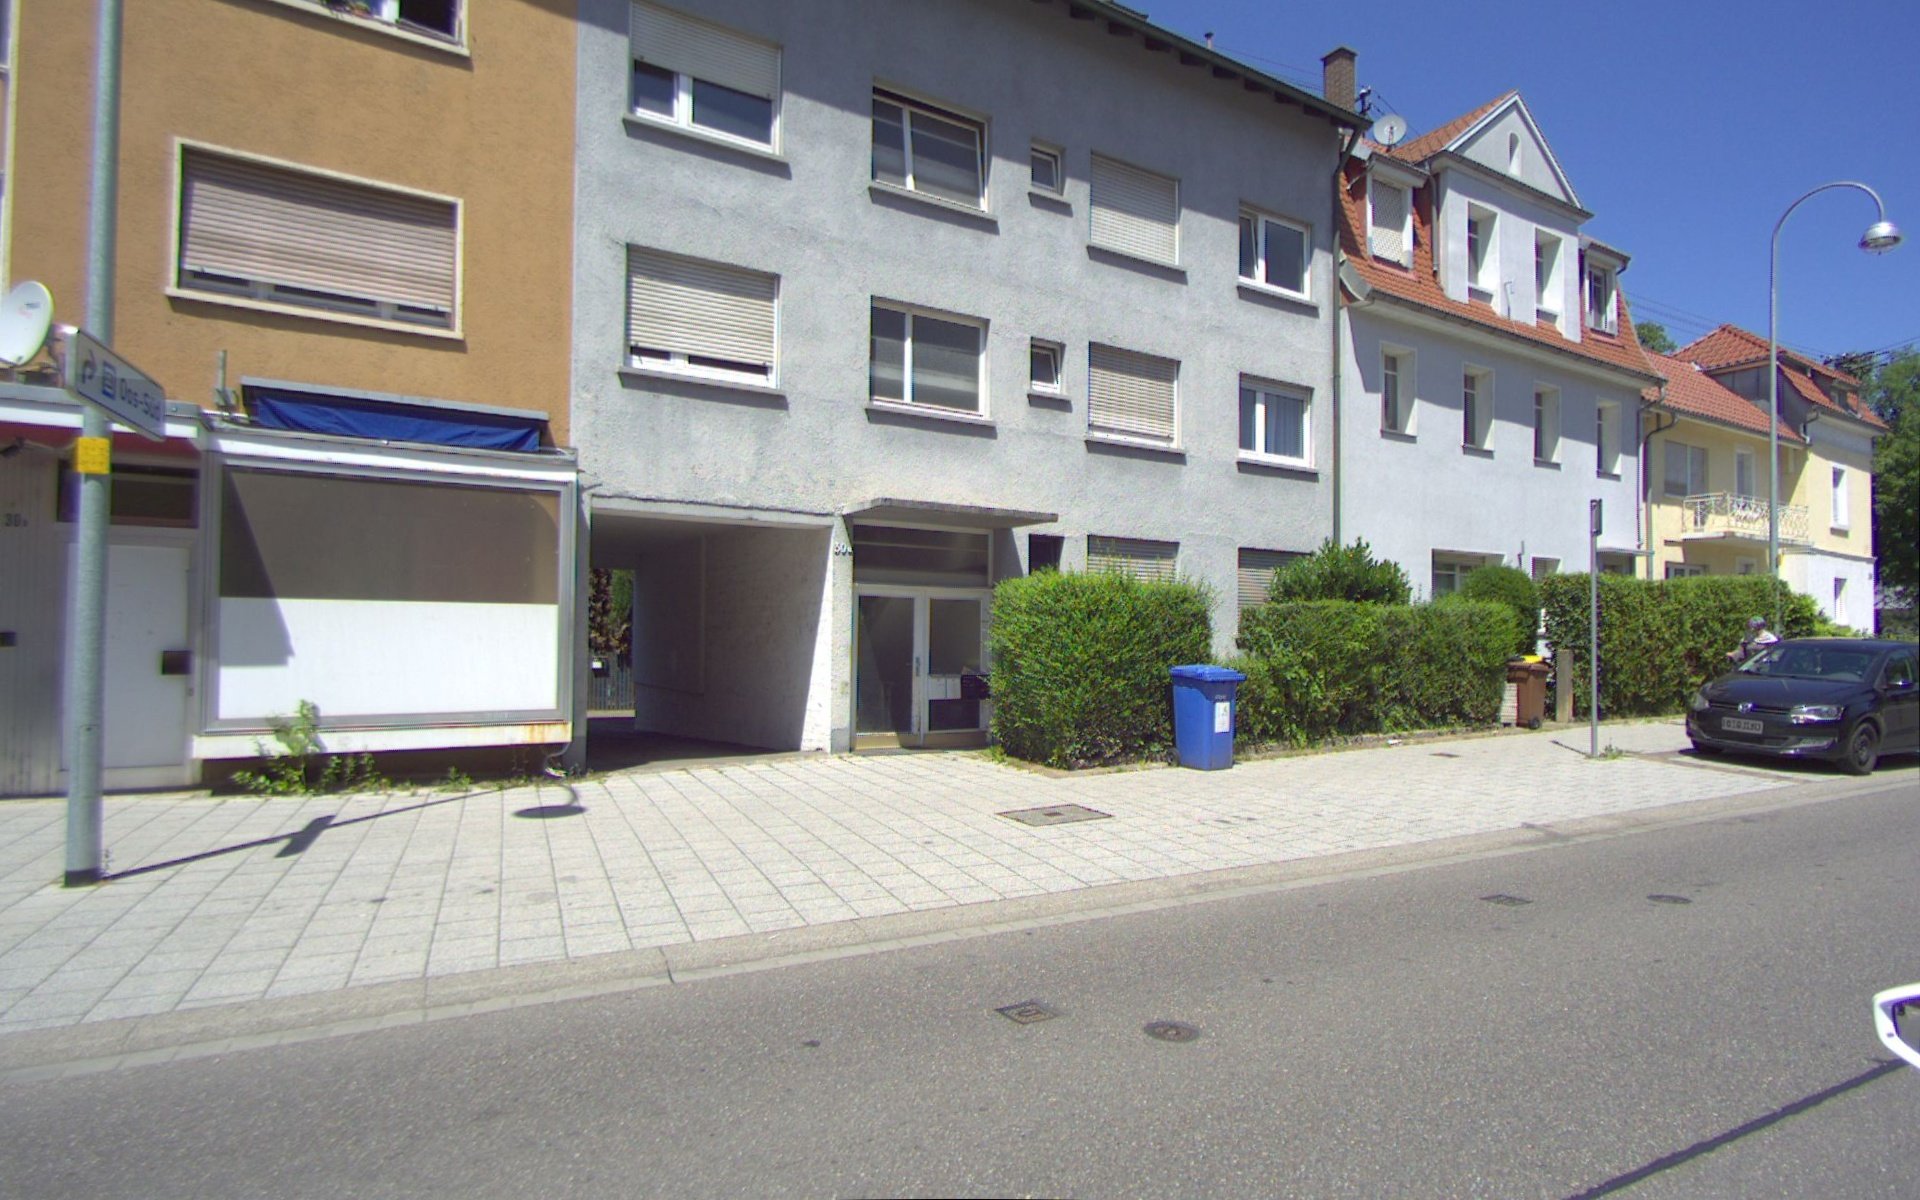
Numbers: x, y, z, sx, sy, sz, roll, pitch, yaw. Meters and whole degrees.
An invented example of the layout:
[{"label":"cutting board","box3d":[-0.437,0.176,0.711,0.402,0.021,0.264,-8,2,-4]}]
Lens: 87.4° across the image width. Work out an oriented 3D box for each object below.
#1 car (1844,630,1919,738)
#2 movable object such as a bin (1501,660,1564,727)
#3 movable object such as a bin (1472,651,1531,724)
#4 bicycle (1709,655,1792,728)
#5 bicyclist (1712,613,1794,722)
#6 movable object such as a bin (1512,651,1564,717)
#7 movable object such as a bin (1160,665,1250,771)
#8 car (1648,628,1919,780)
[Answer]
[{"label":"car","box3d":[15.867,1.228,15.446,5.244,1.481,1.854,0,0,-30]},{"label":"movable object such as a bin","box3d":[8.299,1.345,14.564,0.697,0.924,0.492,1,-2,-30]},{"label":"movable object such as a bin","box3d":[8.073,1.285,14.976,0.697,1.044,0.465,1,-2,-30]},{"label":"bicycle","box3d":[12.657,1.442,16.069,1.497,1.098,0.553,1,-2,-32]},{"label":"bicyclist","box3d":[12.677,1.058,16.064,0.826,1.681,0.778,1,-2,-31]},{"label":"movable object such as a bin","box3d":[9.085,1.314,15.792,0.606,1.003,0.465,1,-2,-29]},{"label":"movable object such as a bin","box3d":[2.589,1.226,10.647,0.644,1.061,0.670,1,-3,-30]},{"label":"car","box3d":[10.468,1.123,12.077,4.141,1.479,1.782,1,1,-26]}]
